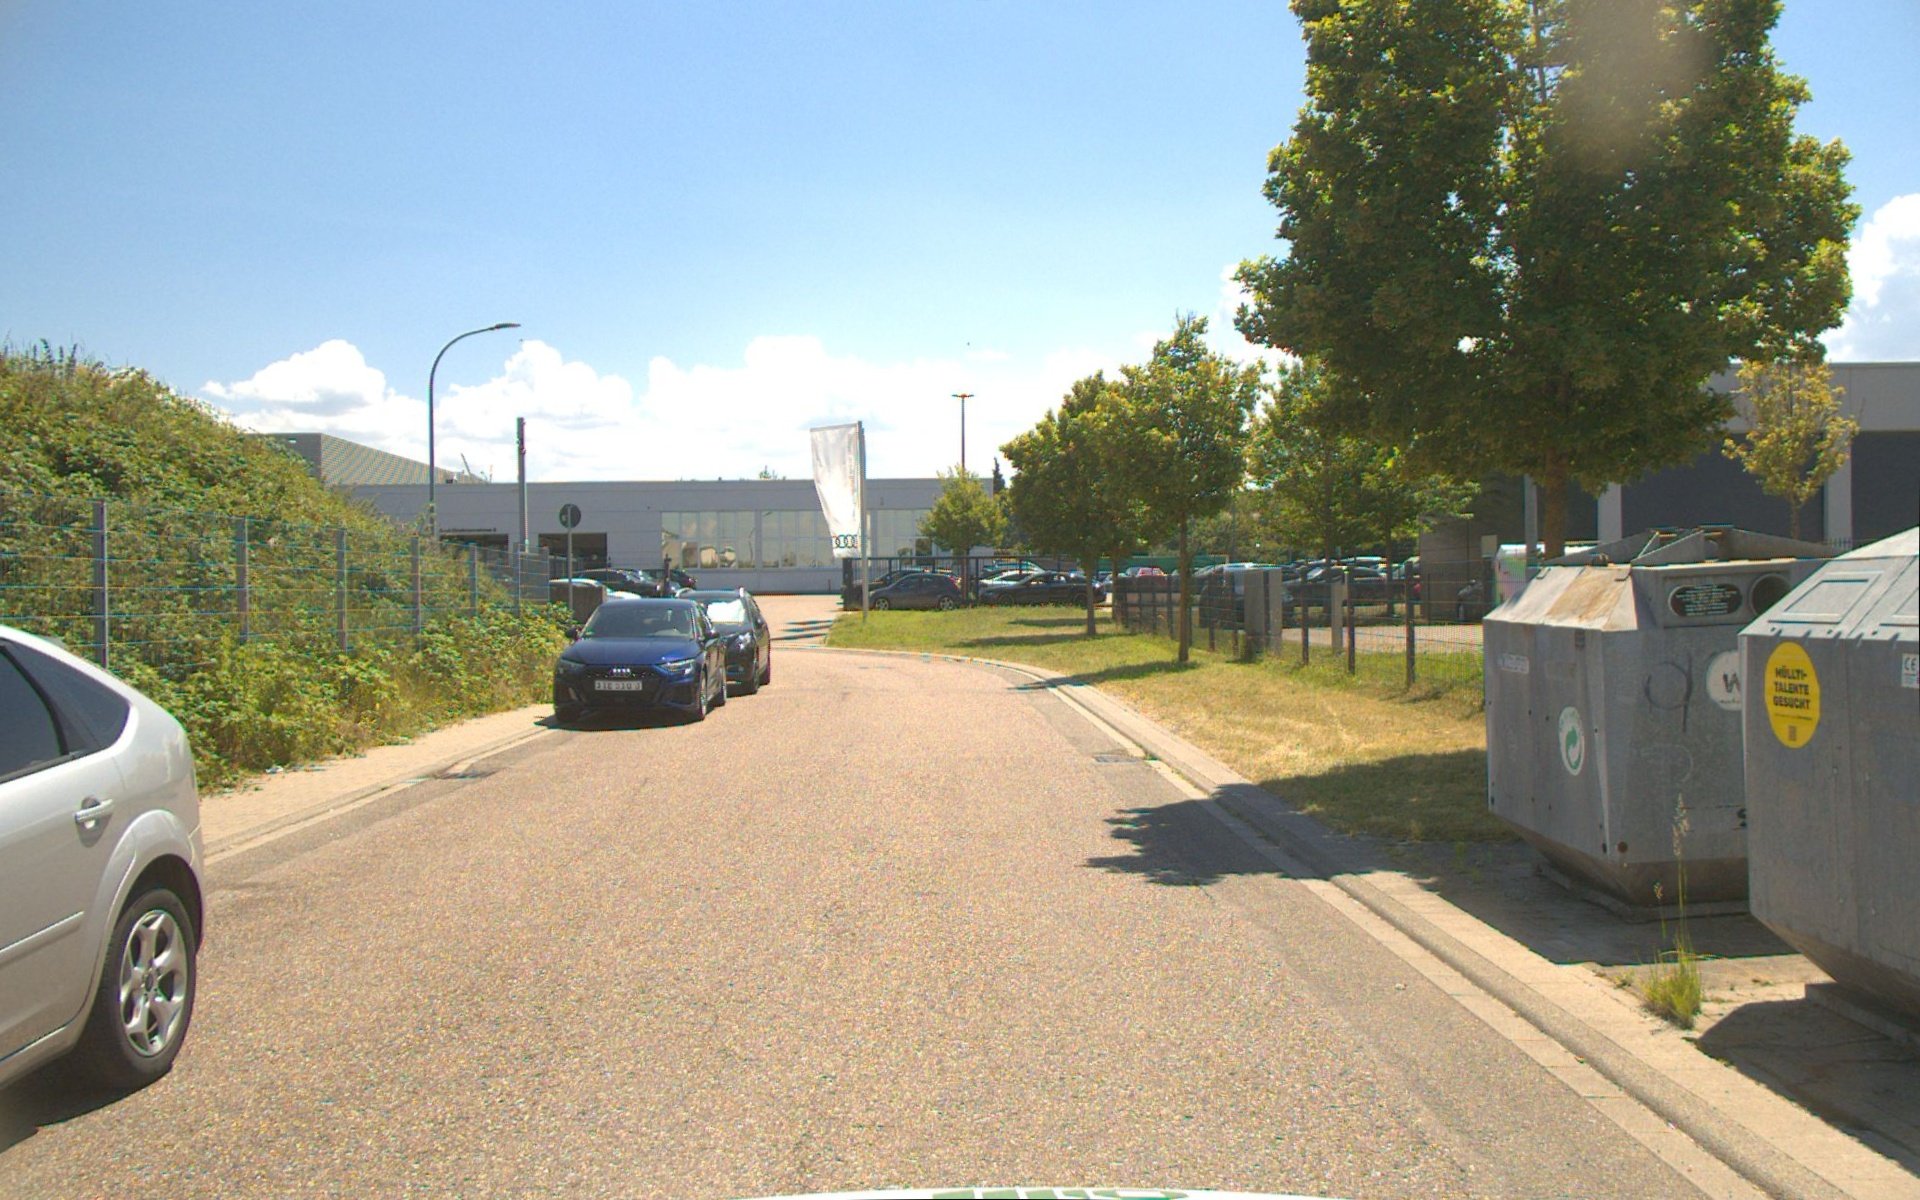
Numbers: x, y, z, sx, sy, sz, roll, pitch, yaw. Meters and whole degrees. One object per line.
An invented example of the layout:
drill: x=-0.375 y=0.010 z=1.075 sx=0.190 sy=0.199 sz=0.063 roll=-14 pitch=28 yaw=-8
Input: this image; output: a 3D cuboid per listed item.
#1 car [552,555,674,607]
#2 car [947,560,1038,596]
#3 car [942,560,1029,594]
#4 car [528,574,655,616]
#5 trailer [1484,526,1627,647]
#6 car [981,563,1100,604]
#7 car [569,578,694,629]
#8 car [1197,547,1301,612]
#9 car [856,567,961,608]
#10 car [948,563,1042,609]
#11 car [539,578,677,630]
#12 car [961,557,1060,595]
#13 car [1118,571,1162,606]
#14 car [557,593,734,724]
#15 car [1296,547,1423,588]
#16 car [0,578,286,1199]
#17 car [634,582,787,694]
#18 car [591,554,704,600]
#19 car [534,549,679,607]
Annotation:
car: x=-13.940 y=-0.781 z=66.621 sx=4.494 sy=1.956 sz=1.999 roll=-1 pitch=1 yaw=-2
car: x=1.406 y=-0.967 z=73.500 sx=3.907 sy=1.423 sz=1.999 roll=-1 pitch=-1 yaw=-3
car: x=1.176 y=-1.045 z=76.866 sx=3.907 sy=1.423 sz=1.999 roll=-1 pitch=-1 yaw=-3
car: x=-13.742 y=-0.174 z=61.865 sx=4.350 sy=1.423 sz=1.999 roll=-1 pitch=-1 yaw=-3
trailer: x=10.926 y=-0.306 z=30.528 sx=1.462 sy=2.041 sz=3.265 roll=-2 pitch=3 yaw=0
car: x=3.051 y=-0.606 z=63.253 sx=4.350 sy=1.423 sz=1.999 roll=-1 pitch=-1 yaw=-3
car: x=-13.682 y=0.133 z=69.140 sx=4.785 sy=1.956 sz=1.999 roll=-1 pitch=1 yaw=-2
car: x=7.341 y=-0.534 z=42.288 sx=1.702 sy=1.549 sz=3.892 roll=-1 pitch=1 yaw=-4
car: x=-1.988 y=-0.467 z=63.030 sx=3.907 sy=1.423 sz=1.999 roll=-1 pitch=-1 yaw=-3
car: x=1.490 y=-0.599 z=71.209 sx=3.907 sy=1.859 sz=1.999 roll=-1 pitch=-1 yaw=-3
car: x=-12.031 y=0.142 z=56.716 sx=4.350 sy=1.655 sz=1.999 roll=-1 pitch=-1 yaw=-3
car: x=2.057 y=-0.983 z=67.972 sx=3.907 sy=1.423 sz=1.999 roll=-1 pitch=-1 yaw=-3
car: x=10.361 y=-0.657 z=95.335 sx=1.953 sy=1.859 sz=3.998 roll=-1 pitch=-1 yaw=-2
car: x=-3.880 y=0.660 z=20.977 sx=1.623 sy=1.442 sz=4.143 roll=-1 pitch=0 yaw=-3
car: x=15.418 y=-1.250 z=64.001 sx=4.350 sy=1.423 sz=1.999 roll=-1 pitch=-1 yaw=-3
car: x=-3.309 y=0.757 z=3.753 sx=1.796 sy=1.573 sz=4.366 roll=-1 pitch=0 yaw=-1
car: x=-3.839 y=0.536 z=26.119 sx=1.796 sy=1.573 sz=4.264 roll=-1 pitch=0 yaw=-1
car: x=-14.280 y=-1.043 z=75.695 sx=4.785 sy=1.956 sz=1.999 roll=-1 pitch=1 yaw=-2
car: x=-13.757 y=-0.867 z=64.559 sx=5.211 sy=2.134 sz=1.999 roll=-1 pitch=1 yaw=-2
